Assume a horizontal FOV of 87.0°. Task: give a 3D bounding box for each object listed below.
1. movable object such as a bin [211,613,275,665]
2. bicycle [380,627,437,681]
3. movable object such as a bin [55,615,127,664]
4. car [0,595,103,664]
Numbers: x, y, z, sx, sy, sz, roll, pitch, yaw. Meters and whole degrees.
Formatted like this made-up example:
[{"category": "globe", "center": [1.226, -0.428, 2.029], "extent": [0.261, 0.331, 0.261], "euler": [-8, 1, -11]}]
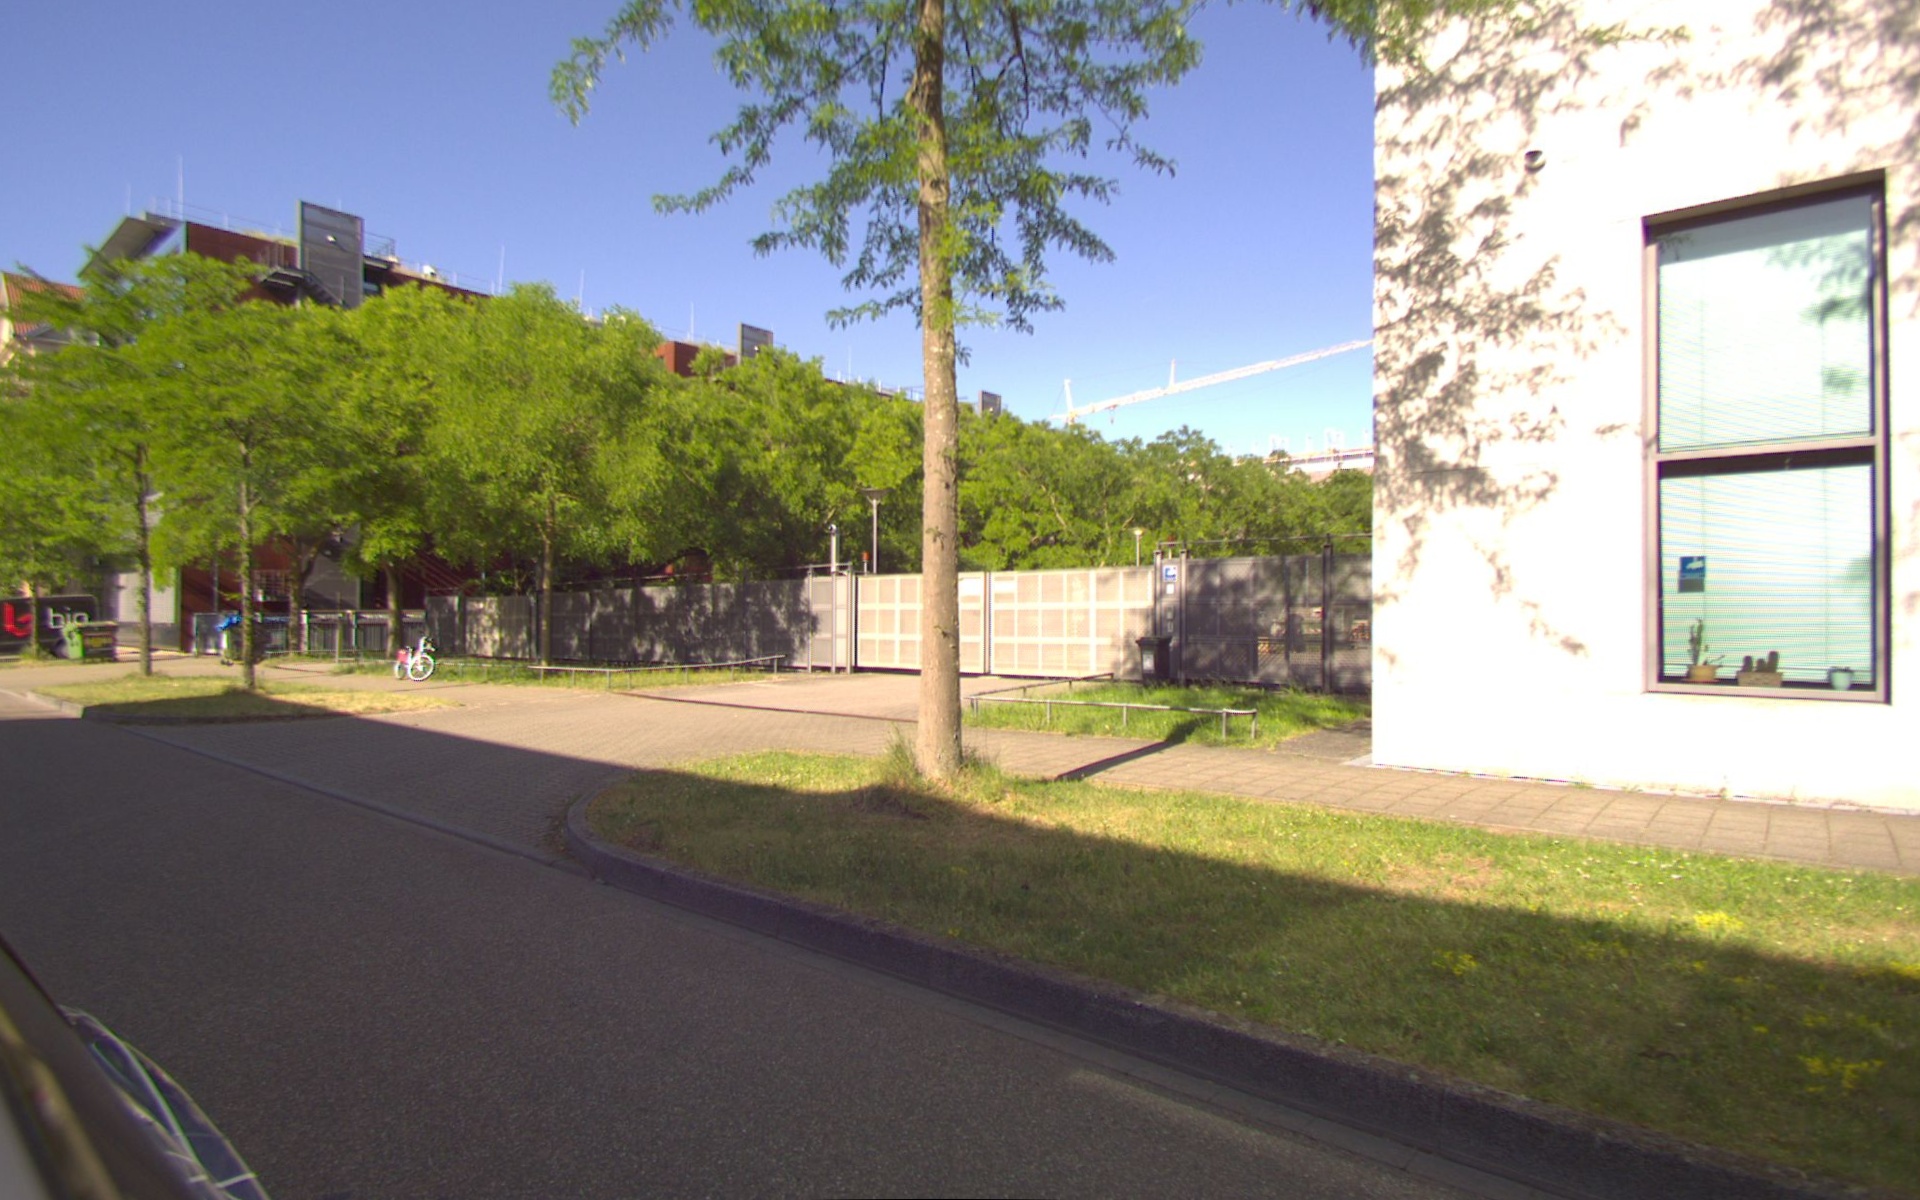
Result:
[{"category": "movable object such as a bin", "center": [-23.046, 1.232, 32.535], "extent": [1.501, 1.580, 1.348], "euler": [0, -1, -44]}, {"category": "bicycle", "center": [-12.806, 1.234, 23.477], "extent": [1.727, 1.201, 0.594], "euler": [-1, -1, 42]}, {"category": "movable object such as a bin", "center": [-29.523, 1.317, 34.401], "extent": [1.342, 1.580, 1.508], "euler": [-1, -1, 31]}, {"category": "car", "center": [-37.182, 1.151, 39.488], "extent": [1.985, 2.560, 5.420], "euler": [-1, 1, 40]}]
